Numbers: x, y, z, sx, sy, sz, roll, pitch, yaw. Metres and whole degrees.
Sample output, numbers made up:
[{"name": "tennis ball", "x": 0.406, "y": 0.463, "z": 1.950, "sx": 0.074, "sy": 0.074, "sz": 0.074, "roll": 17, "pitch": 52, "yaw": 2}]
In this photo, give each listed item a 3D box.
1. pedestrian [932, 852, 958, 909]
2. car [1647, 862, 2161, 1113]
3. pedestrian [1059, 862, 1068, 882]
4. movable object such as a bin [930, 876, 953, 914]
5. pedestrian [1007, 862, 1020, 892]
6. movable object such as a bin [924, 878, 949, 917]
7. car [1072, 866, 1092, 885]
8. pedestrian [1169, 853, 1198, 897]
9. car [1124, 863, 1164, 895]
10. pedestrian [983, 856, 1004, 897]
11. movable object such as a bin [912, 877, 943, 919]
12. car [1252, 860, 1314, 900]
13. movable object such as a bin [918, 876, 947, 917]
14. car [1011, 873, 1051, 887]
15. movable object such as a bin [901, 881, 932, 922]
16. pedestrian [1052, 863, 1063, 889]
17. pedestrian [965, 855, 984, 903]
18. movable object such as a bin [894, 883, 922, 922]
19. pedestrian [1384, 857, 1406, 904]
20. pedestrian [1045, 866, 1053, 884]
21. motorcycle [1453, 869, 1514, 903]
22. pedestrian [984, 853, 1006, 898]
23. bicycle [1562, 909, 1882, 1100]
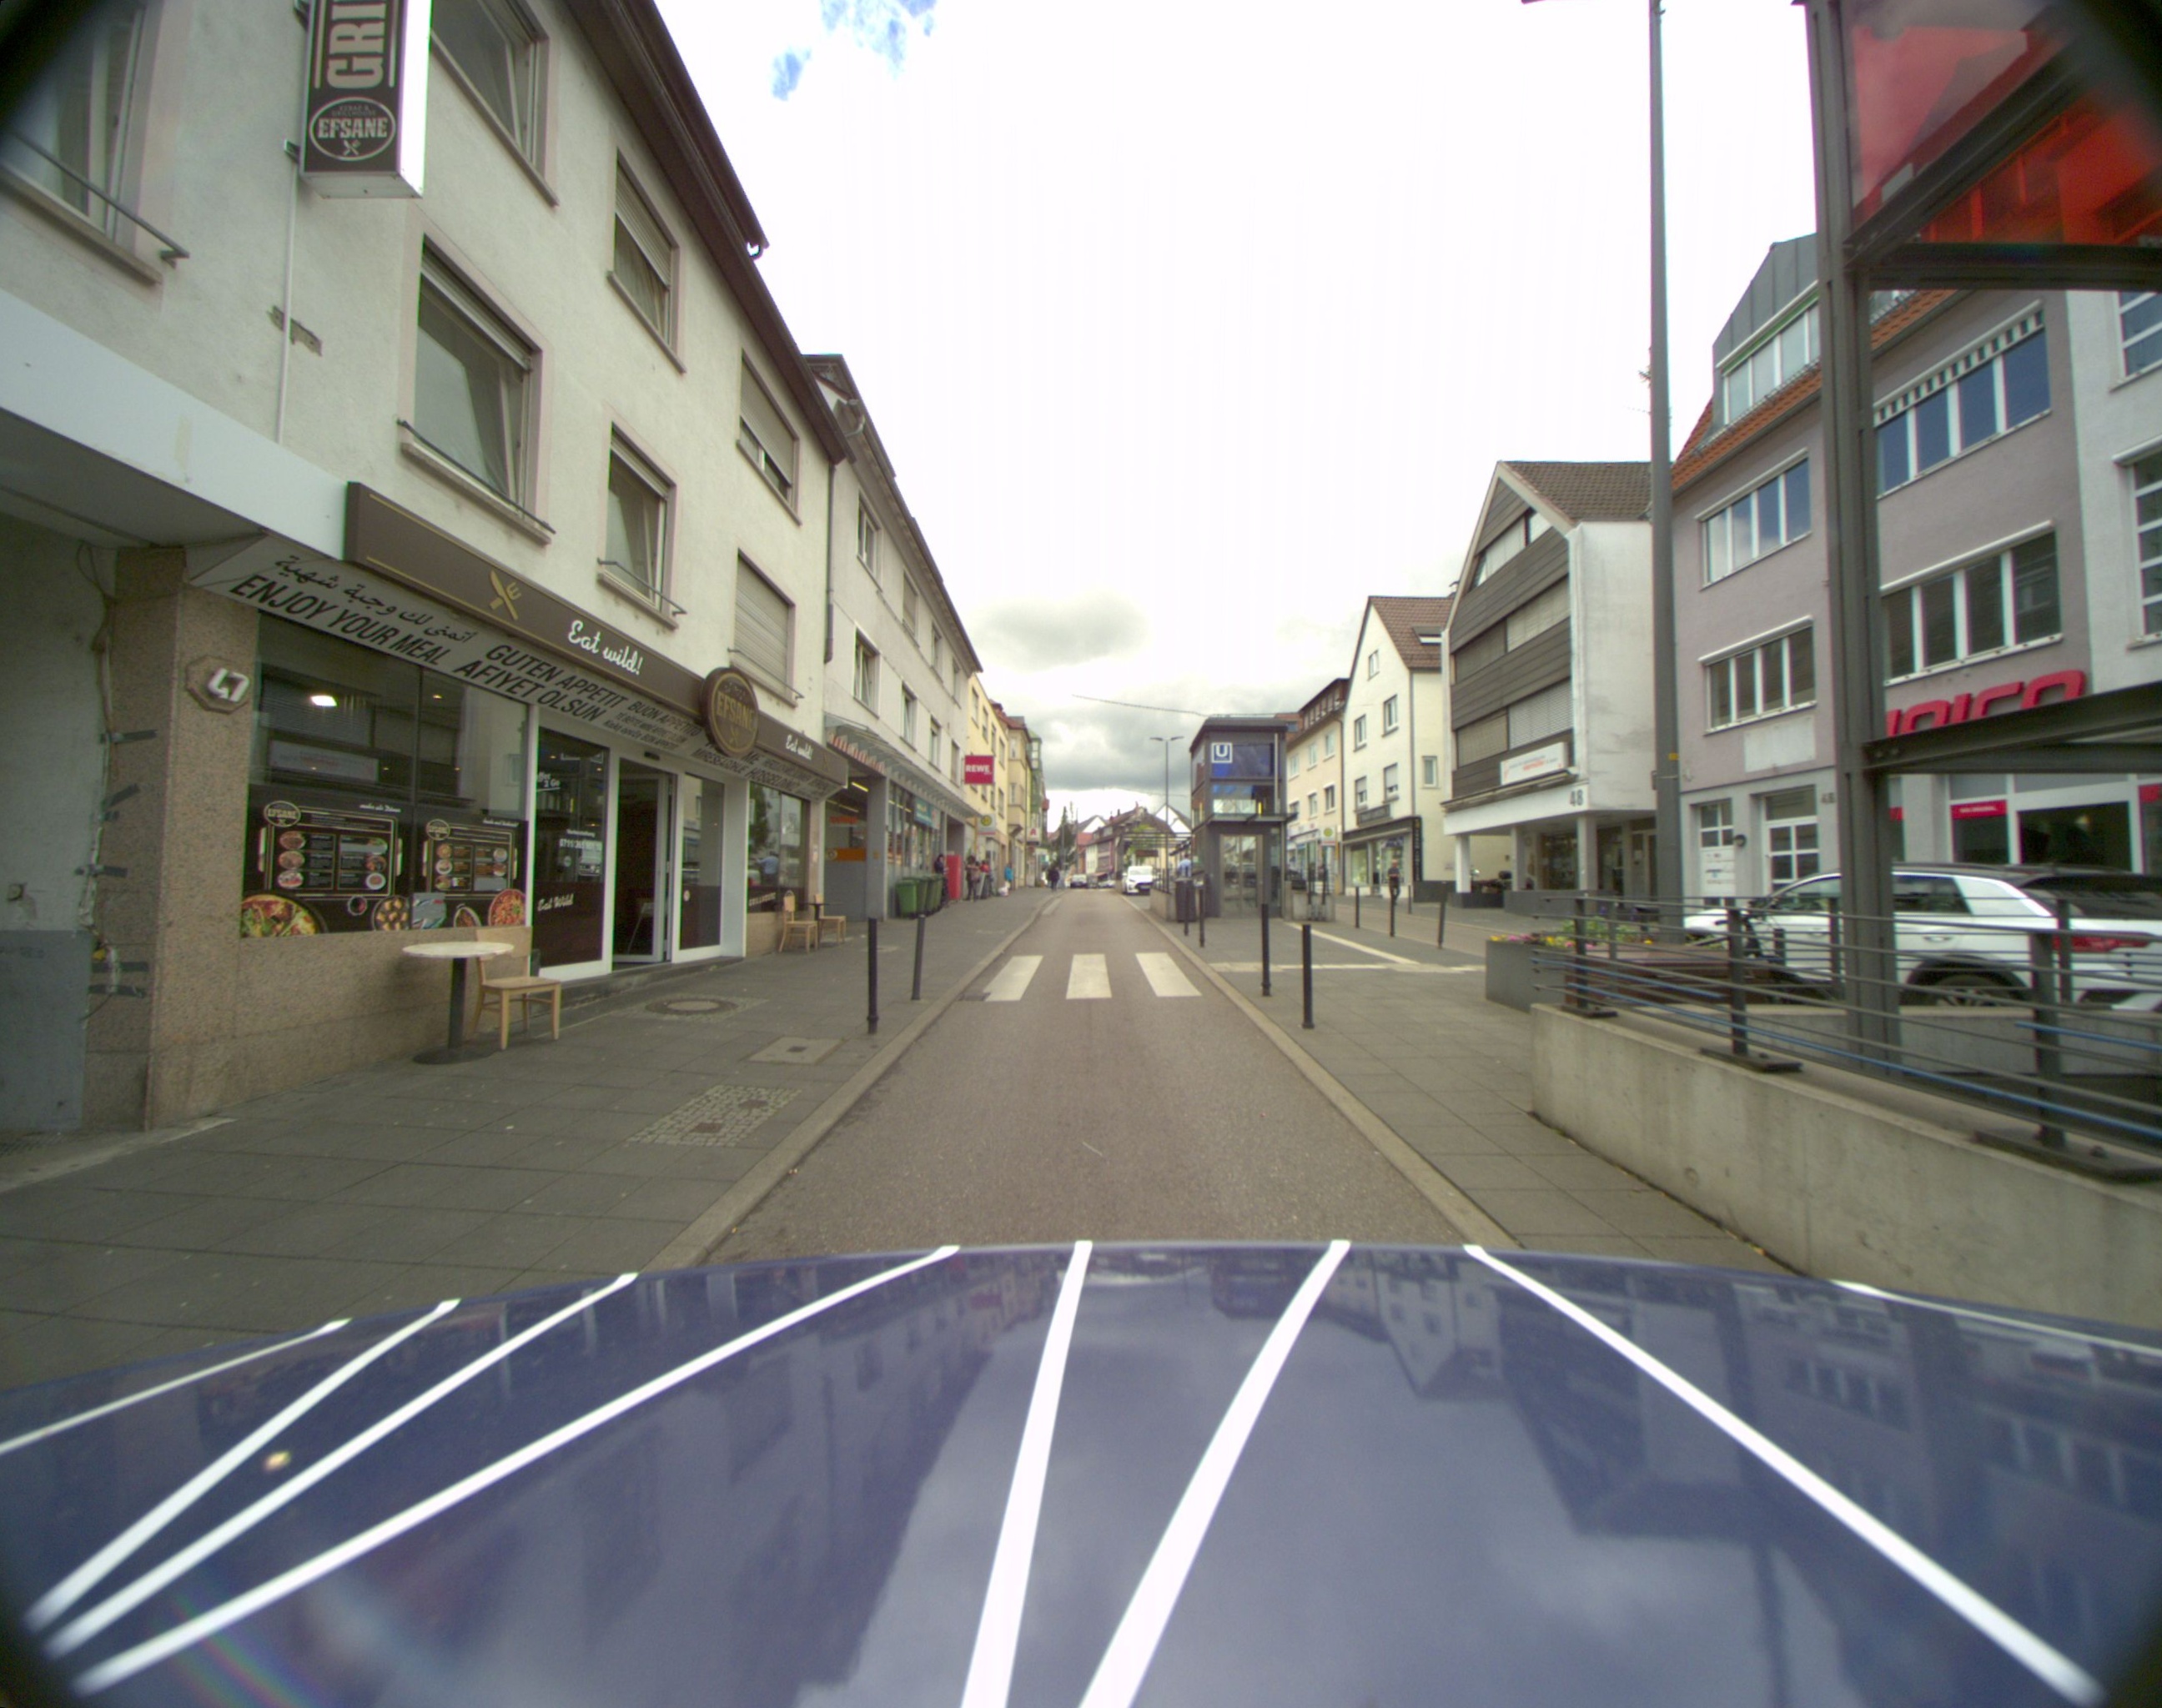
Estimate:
[{"name": "pedestrian", "x": -4.213, "y": 0.818, "z": 23.516, "sx": 0.628, "sy": 1.716, "sz": 0.606, "roll": -2, "pitch": 1, "yaw": -22}, {"name": "car", "x": 7.692, "y": 0.914, "z": 7.135, "sx": 1.683, "sy": 1.562, "sz": 4.122, "roll": -2, "pitch": 0, "yaw": 1}, {"name": "pedestrian", "x": -1.425, "y": 1.461, "z": 61.684, "sx": 0.657, "sy": 1.620, "sz": 0.743, "roll": -2, "pitch": 1, "yaw": -6}, {"name": "movable object such as a bin", "x": -4.023, "y": 1.180, "z": 21.909, "sx": 0.560, "sy": 1.050, "sz": 0.559, "roll": 0, "pitch": 0, "yaw": 1}, {"name": "pedestrian", "x": -3.677, "y": 1.252, "z": 41.358, "sx": 0.627, "sy": 1.620, "sz": 0.607, "roll": -2, "pitch": 1, "yaw": -5}, {"name": "movable object such as a bin", "x": -4.044, "y": 1.209, "z": 21.326, "sx": 0.569, "sy": 1.053, "sz": 0.574, "roll": 0, "pitch": 0, "yaw": 1}, {"name": "car", "x": 0.112, "y": 2.018, "z": 71.429, "sx": 1.741, "sy": 1.608, "sz": 3.843, "roll": -2, "pitch": 0, "yaw": 0}, {"name": "pedestrian", "x": 4.401, "y": 0.891, "z": 32.643, "sx": 1.097, "sy": 1.831, "sz": 0.931, "roll": -2, "pitch": 1, "yaw": 1}, {"name": "car", "x": 3.142, "y": 1.247, "z": 38.577, "sx": 1.754, "sy": 1.452, "sz": 3.601, "roll": -2, "pitch": 0, "yaw": 1}, {"name": "pedestrian", "x": -3.732, "y": 0.940, "z": 32.398, "sx": 0.608, "sy": 1.716, "sz": 0.626, "roll": -3, "pitch": 1, "yaw": -29}, {"name": "movable object such as a bin", "x": -4.032, "y": 1.146, "z": 19.967, "sx": 0.652, "sy": 1.074, "sz": 0.673, "roll": 0, "pitch": 0, "yaw": 1}, {"name": "car", "x": 8.940, "y": 1.126, "z": 33.903, "sx": 1.683, "sy": 1.562, "sz": 4.122, "roll": -2, "pitch": 0, "yaw": 1}, {"name": "movable object such as a bin", "x": -4.044, "y": 1.144, "z": 20.681, "sx": 0.652, "sy": 1.074, "sz": 0.659, "roll": 0, "pitch": 0, "yaw": 1}, {"name": "car", "x": -5.966, "y": 3.098, "z": 90.075, "sx": 4.626, "sy": 1.570, "sz": 1.777, "roll": -1, "pitch": 0, "yaw": -8}, {"name": "movable object such as a bin", "x": -4.172, "y": 1.194, "z": 19.285, "sx": 0.670, "sy": 1.024, "sz": 0.560, "roll": 0, "pitch": 0, "yaw": 1}, {"name": "pedestrian", "x": -1.512, "y": 1.408, "z": 49.164, "sx": 0.657, "sy": 1.620, "sz": 0.743, "roll": -2, "pitch": 1, "yaw": -1}, {"name": "pedestrian", "x": -3.863, "y": 0.889, "z": 27.612, "sx": 0.627, "sy": 1.716, "sz": 0.607, "roll": 2, "pitch": 1, "yaw": -5}, {"name": "movable object such as a bin", "x": -4.245, "y": 1.189, "z": 18.697, "sx": 0.568, "sy": 0.951, "sz": 0.498, "roll": 0, "pitch": 0, "yaw": 1}, {"name": "pedestrian", "x": 11.715, "y": 0.996, "z": 28.349, "sx": 0.592, "sy": 1.706, "sz": 0.513, "roll": -2, "pitch": 1, "yaw": 1}, {"name": "pedestrian", "x": -2.908, "y": 1.881, "z": 69.355, "sx": 0.657, "sy": 1.620, "sz": 0.743, "roll": -2, "pitch": 1, "yaw": -1}, {"name": "motorcycle", "x": 14.672, "y": 1.170, "z": 27.706, "sx": 1.854, "sy": 1.134, "sz": 0.634, "roll": -2, "pitch": 1, "yaw": 0}, {"name": "pedestrian", "x": -3.578, "y": 0.896, "z": 31.680, "sx": 0.628, "sy": 1.811, "sz": 0.605, "roll": -3, "pitch": 1, "yaw": -34}, {"name": "bicycle", "x": 4.327, "y": 1.000, "z": 5.186, "sx": 1.782, "sy": 1.216, "sz": 0.459, "roll": 0, "pitch": 1, "yaw": 0}]
